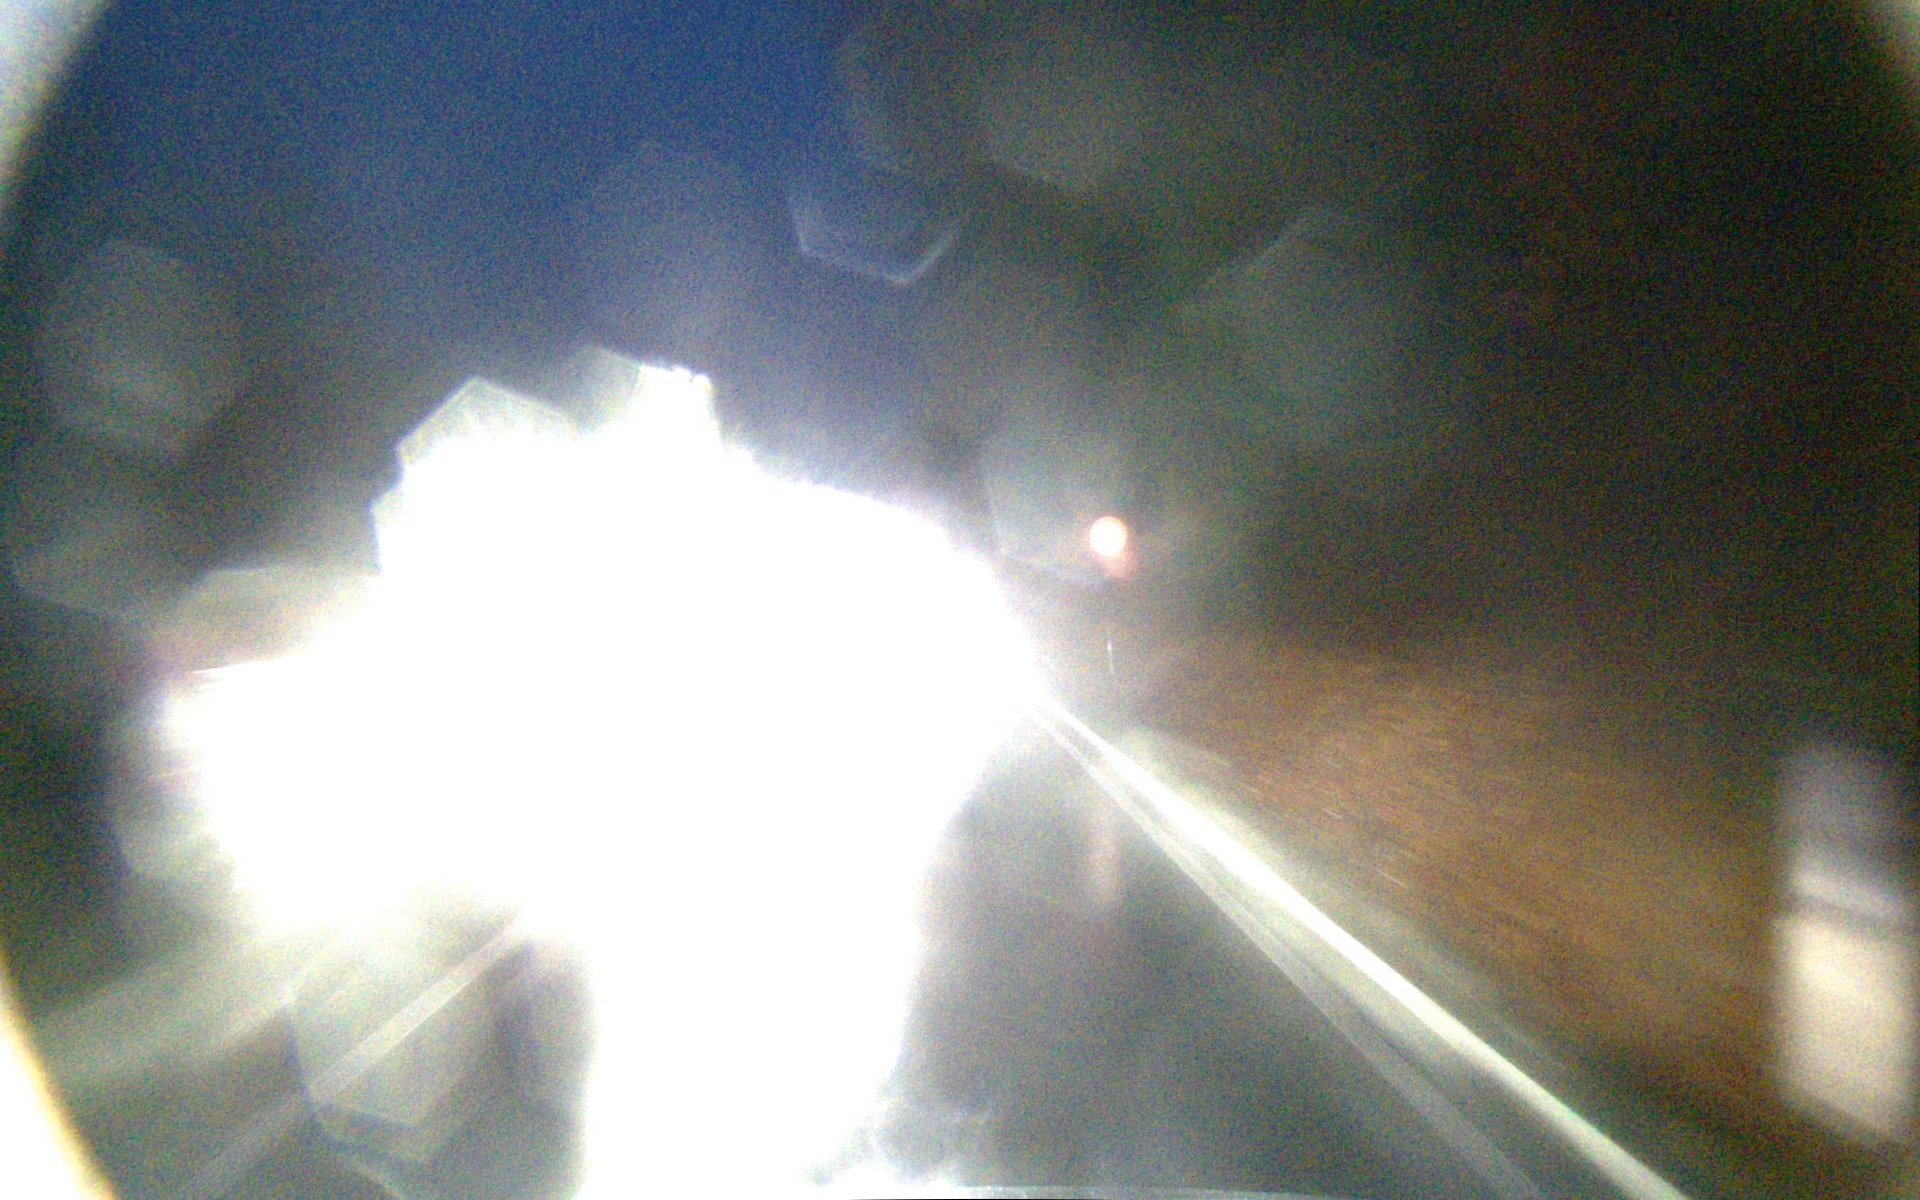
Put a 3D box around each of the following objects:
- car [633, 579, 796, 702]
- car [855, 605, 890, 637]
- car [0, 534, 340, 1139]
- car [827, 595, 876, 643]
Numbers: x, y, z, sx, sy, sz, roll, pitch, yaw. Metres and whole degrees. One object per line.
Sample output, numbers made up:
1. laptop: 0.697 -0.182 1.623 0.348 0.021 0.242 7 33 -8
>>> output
1. car: -3.681 0.617 25.501 1.999 1.635 3.996 -3 -1 -3
2. car: -5.103 1.234 97.237 1.743 1.732 3.998 -3 -1 0
3. car: -3.598 0.670 5.139 1.851 1.664 4.388 -1 -1 -3
4. car: -4.671 0.828 71.726 1.743 1.912 3.998 -3 -1 0
